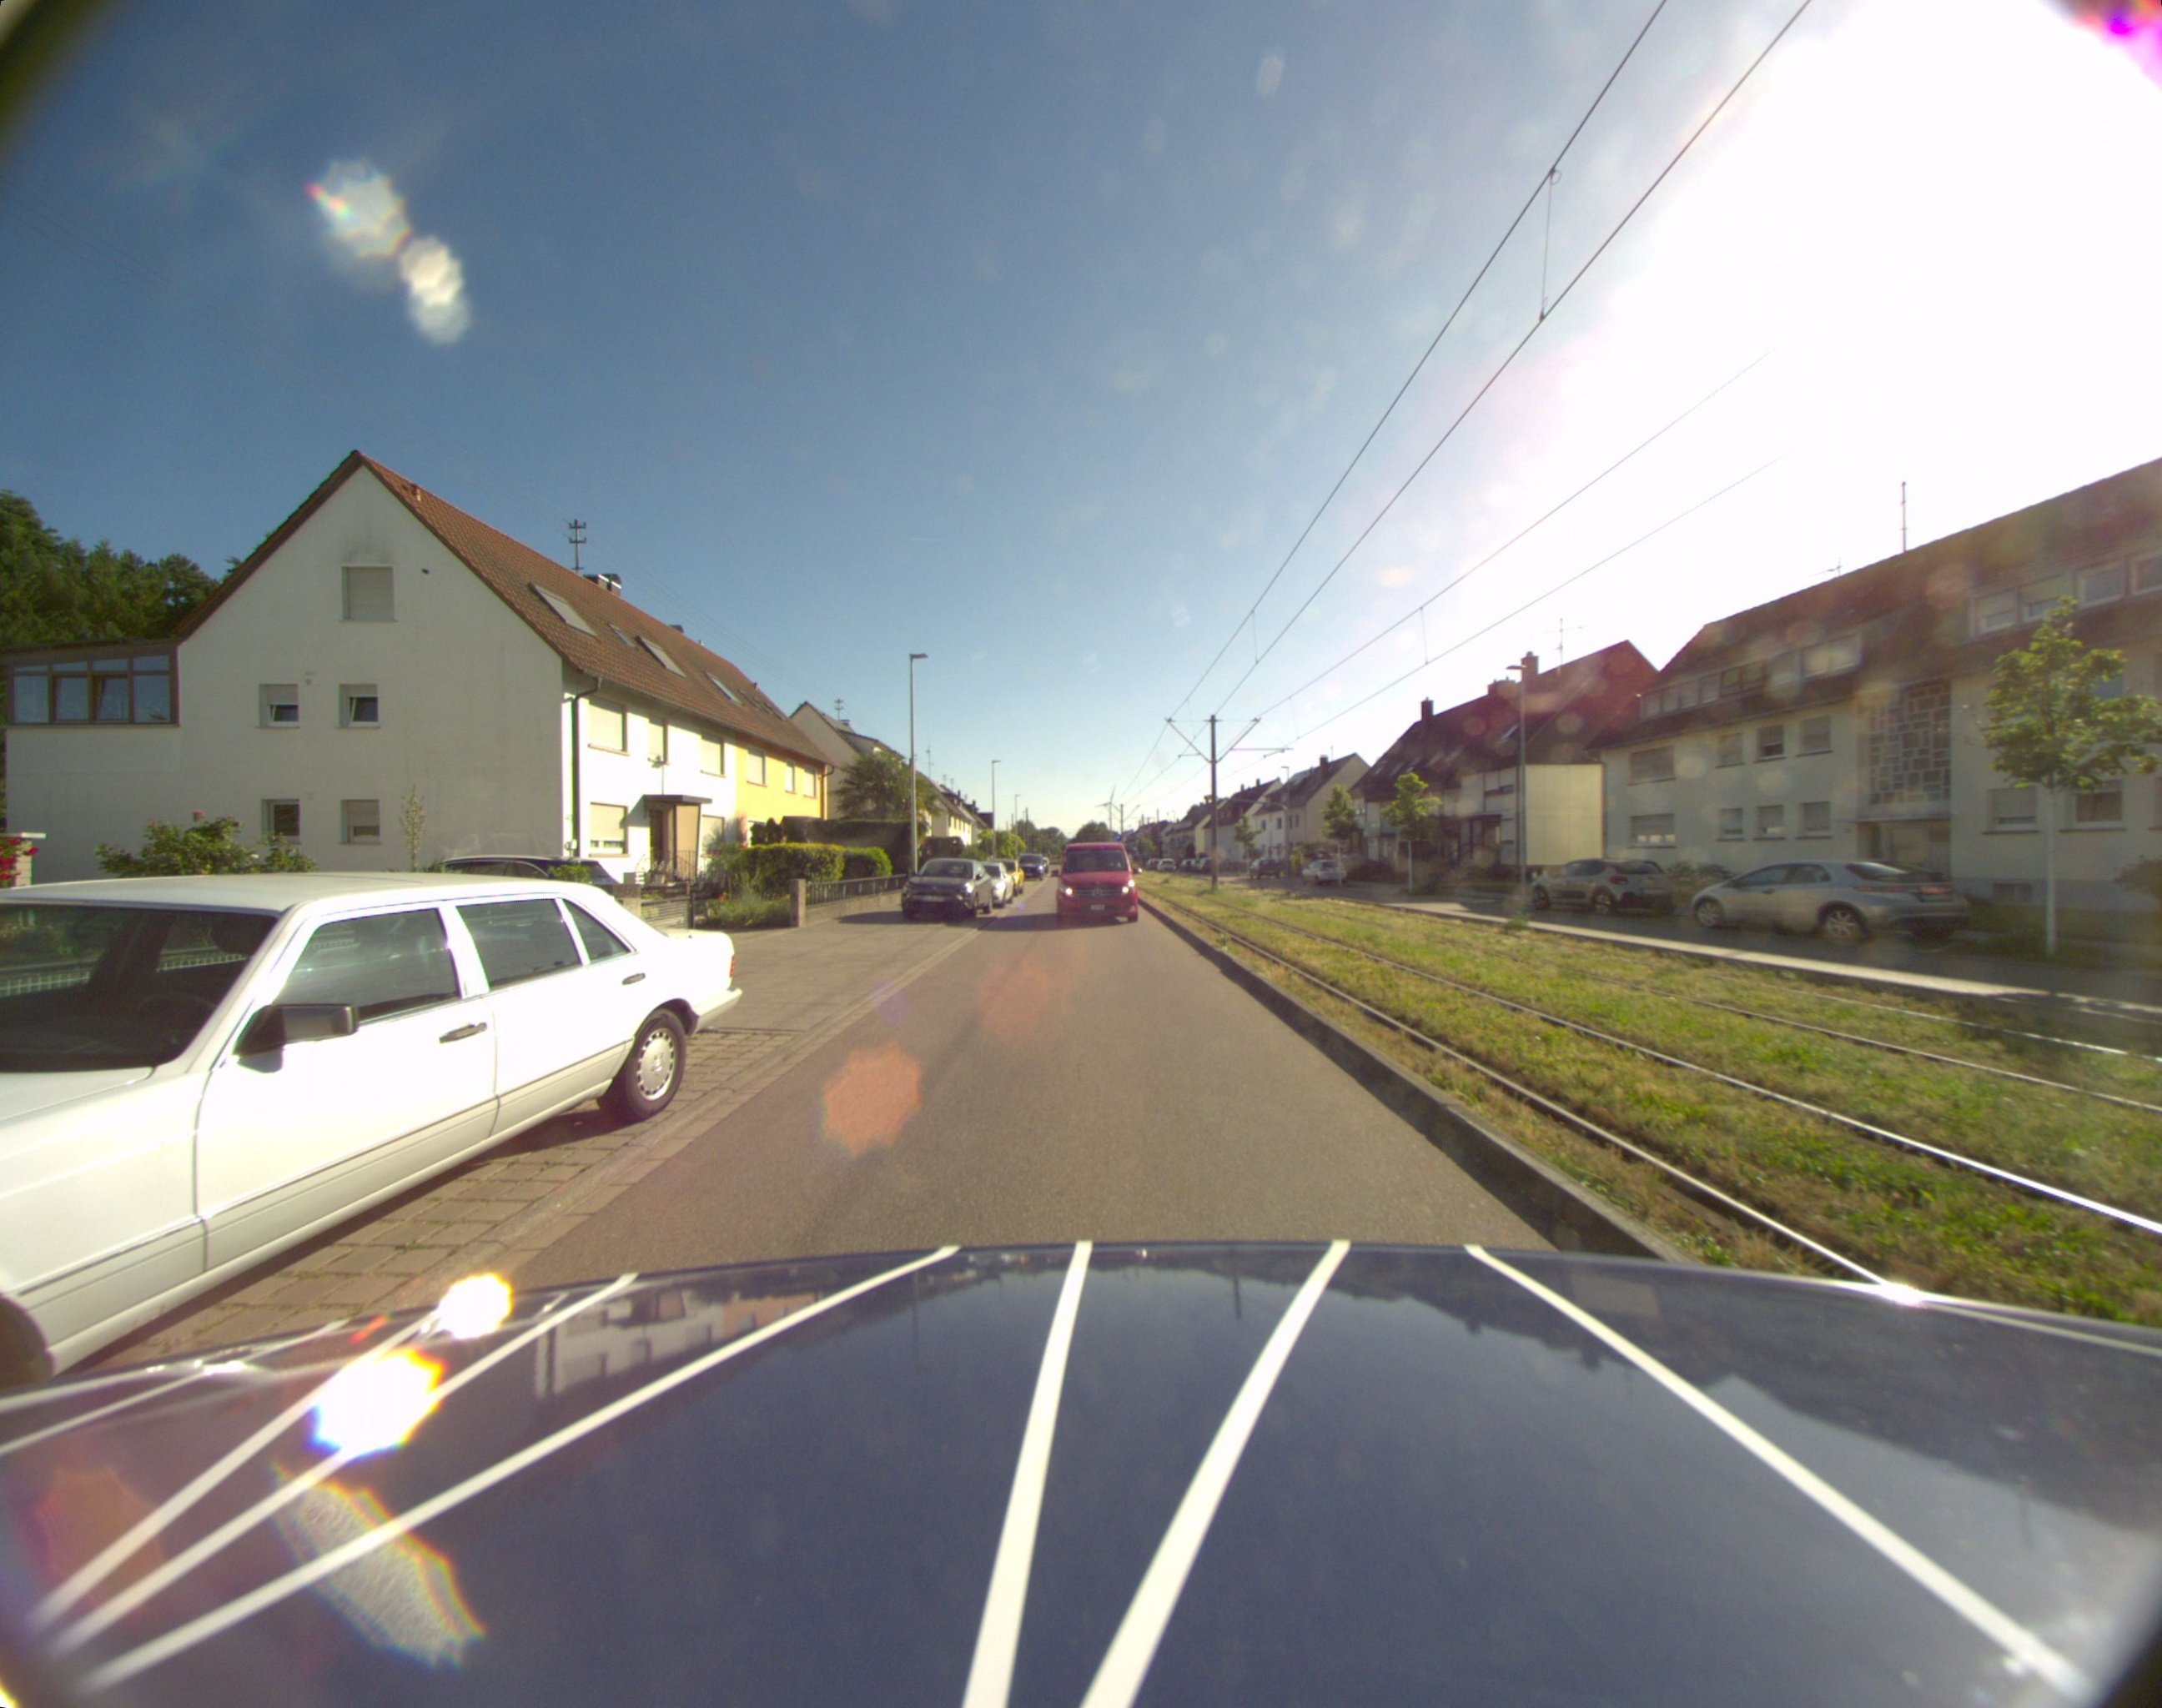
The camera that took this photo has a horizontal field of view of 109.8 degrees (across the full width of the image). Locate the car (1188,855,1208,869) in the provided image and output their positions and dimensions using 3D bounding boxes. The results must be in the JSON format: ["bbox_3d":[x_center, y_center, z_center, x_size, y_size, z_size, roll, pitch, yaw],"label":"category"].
[{"bbox_3d":[12.801,0.854,83.327,1.469,1.459,3.998,0,-1,-2],"label":"car"}]

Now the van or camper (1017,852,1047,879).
[{"bbox_3d":[-3.513,0.762,55.183,1.954,1.836,5.581,1,0,-1],"label":"van or camper"}]

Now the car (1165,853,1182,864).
[{"bbox_3d":[12.579,0.556,103.233,1.704,1.389,4.092,-2,0,-1],"label":"car"}]

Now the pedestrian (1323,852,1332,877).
[{"bbox_3d":[16.666,0.715,51.387,0.552,1.678,0.624,-2,1,15],"label":"pedestrian"}]

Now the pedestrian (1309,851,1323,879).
[{"bbox_3d":[15.622,0.713,50.538,0.617,1.805,0.678,-2,1,-9],"label":"pedestrian"}]

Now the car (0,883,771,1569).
[{"bbox_3d":[-3.437,0.960,3.106,1.857,1.435,5.614,1,0,2],"label":"car"}]

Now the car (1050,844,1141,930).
[{"bbox_3d":[0.269,0.721,19.734,1.999,1.889,5.389,-1,0,-1],"label":"car"}]

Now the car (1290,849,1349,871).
[{"bbox_3d":[20.362,0.523,64.871,4.404,1.773,1.970,-1,0,-1],"label":"car"}]

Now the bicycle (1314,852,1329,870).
[{"bbox_3d":[15.932,0.447,50.366,0.478,1.156,1.872,-2,1,5],"label":"bicycle"}]

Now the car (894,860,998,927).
[{"bbox_3d":[-3.360,0.927,19.814,1.782,1.490,4.728,0,0,1],"label":"car"}]

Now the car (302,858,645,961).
[{"bbox_3d":[-10.899,0.940,13.976,4.426,1.645,2.196,-1,1,-3],"label":"car"}]

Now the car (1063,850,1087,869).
[{"bbox_3d":[-0.549,0.480,68.278,1.862,1.592,4.327,2,0,-4],"label":"car"}]

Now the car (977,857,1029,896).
[{"bbox_3d":[-3.382,0.923,33.671,1.810,1.550,4.926,1,0,0],"label":"car"}]

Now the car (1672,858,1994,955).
[{"bbox_3d":[13.930,0.857,14.544,1.693,1.467,4.442,-2,0,-1],"label":"car"}]

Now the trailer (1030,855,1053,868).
[{"bbox_3d":[-4.118,0.745,78.486,2.278,1.124,6.434,2,0,-4],"label":"trailer"}]

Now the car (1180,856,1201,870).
[{"bbox_3d":[12.662,1.032,88.265,1.658,1.447,4.400,-2,0,-1],"label":"car"}]

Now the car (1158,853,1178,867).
[{"bbox_3d":[9.506,0.626,82.931,1.693,1.467,3.679,1,0,-1],"label":"car"}]

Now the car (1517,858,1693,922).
[{"bbox_3d":[13.930,0.880,20.545,1.693,1.464,4.314,-2,0,-1],"label":"car"}]

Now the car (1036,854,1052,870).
[{"bbox_3d":[-4.337,0.888,88.853,1.796,1.752,4.583,2,0,-3],"label":"car"}]

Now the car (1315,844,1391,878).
[{"bbox_3d":[18.731,0.465,52.421,4.472,2.068,1.787,-4,1,1],"label":"car"}]

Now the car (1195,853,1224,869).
[{"bbox_3d":[13.147,0.676,77.991,1.926,1.551,4.857,-2,0,-2],"label":"car"}]

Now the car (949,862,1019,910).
[{"bbox_3d":[-3.140,1.004,25.473,1.752,1.438,4.699,0,-1,0],"label":"car"}]

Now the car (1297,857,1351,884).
[{"bbox_3d":[13.923,0.931,43.743,1.662,1.428,4.102,-1,0,-1],"label":"car"}]

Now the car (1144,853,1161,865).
[{"bbox_3d":[9.154,0.645,97.713,1.693,1.467,4.082,-2,0,-1],"label":"car"}]

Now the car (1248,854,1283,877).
[{"bbox_3d":[13.649,0.828,56.505,1.623,1.503,4.084,-2,1,1],"label":"car"}]
